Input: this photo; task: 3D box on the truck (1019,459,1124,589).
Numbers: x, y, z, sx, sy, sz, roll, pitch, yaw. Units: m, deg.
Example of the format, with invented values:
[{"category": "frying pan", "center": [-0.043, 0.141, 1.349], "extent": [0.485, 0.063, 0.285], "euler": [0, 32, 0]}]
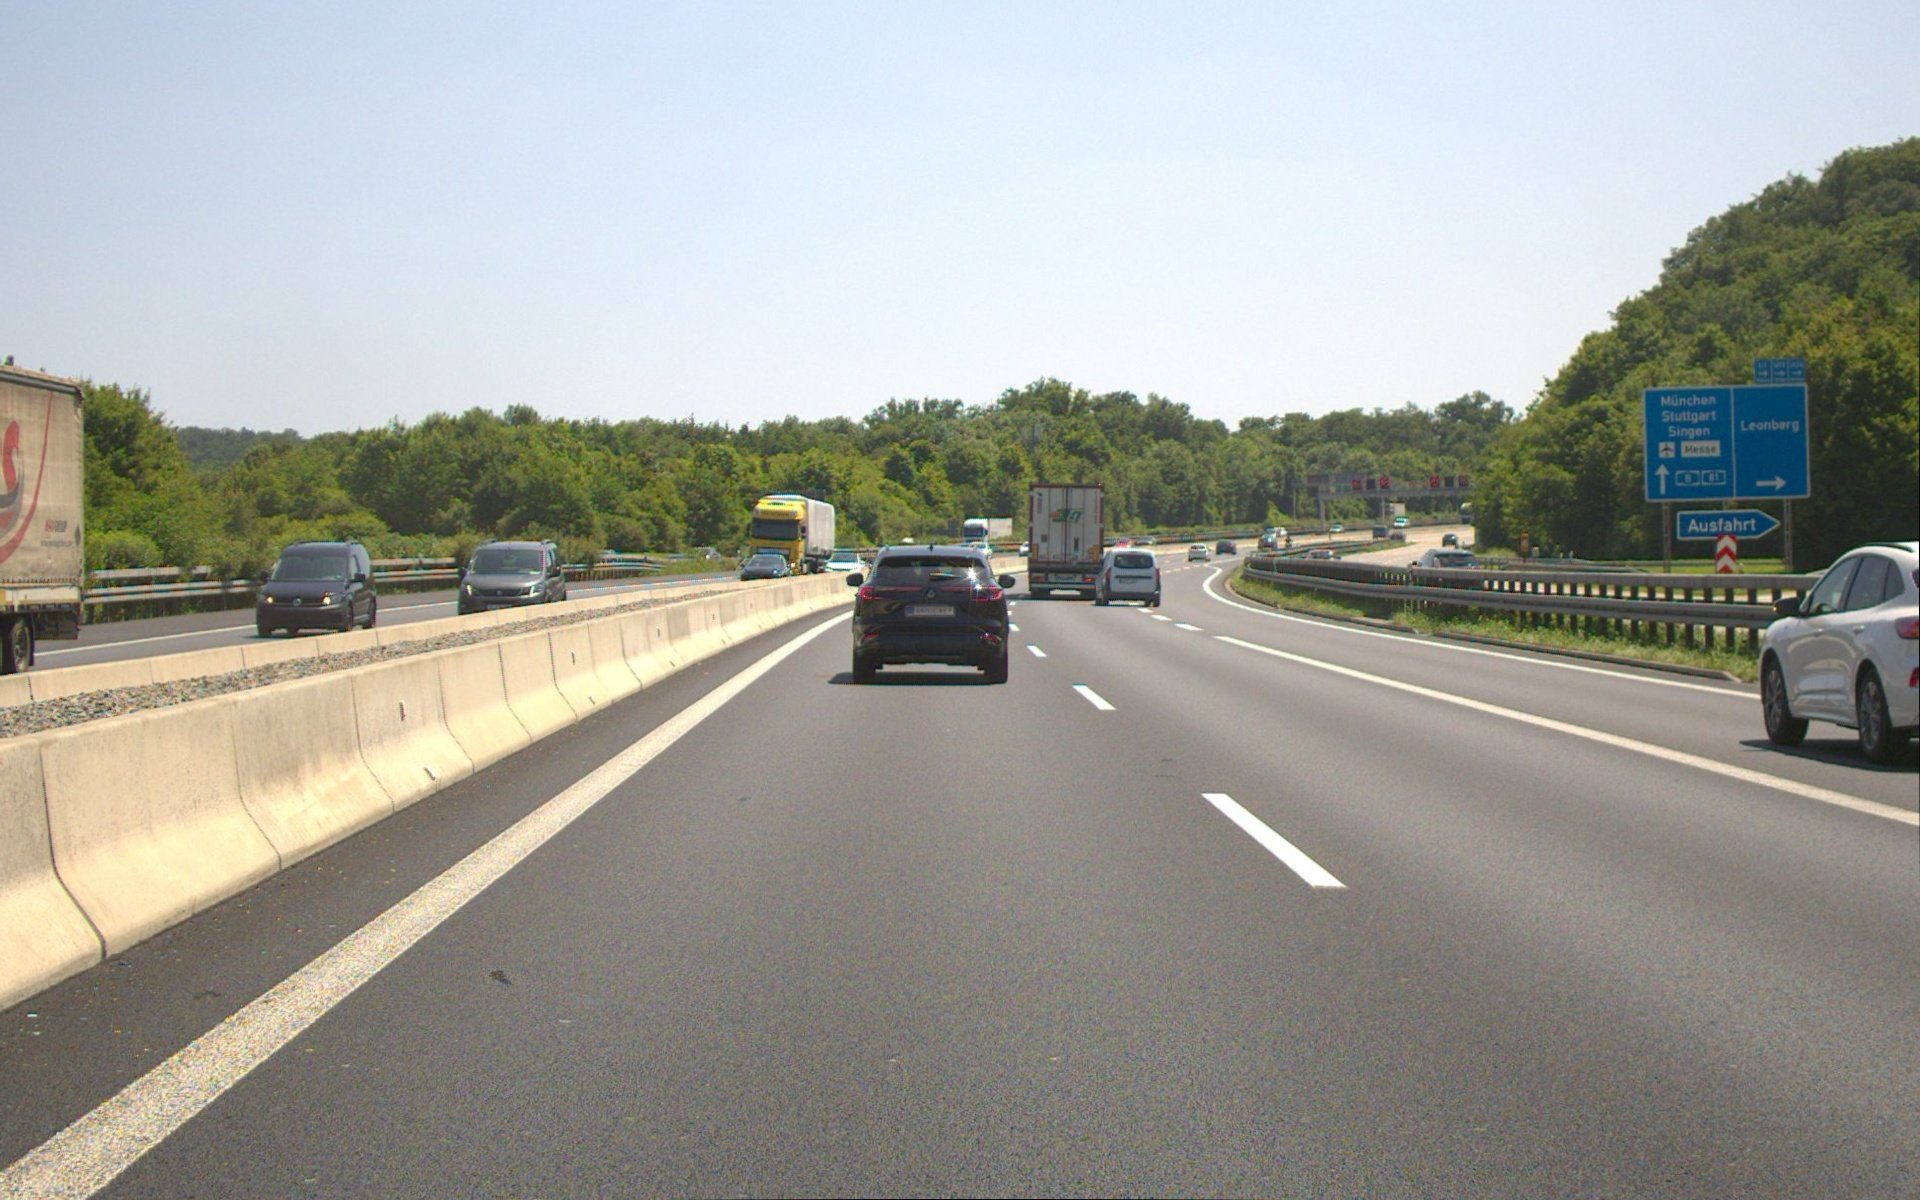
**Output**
[{"category": "truck", "center": [4.088, -2.643, 123.417], "extent": [3.032, 4.403, 12.016], "euler": [1, 1, 5]}]

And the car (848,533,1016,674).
[{"category": "car", "center": [-0.382, 0.020, 40.927], "extent": [1.779, 1.572, 4.001], "euler": [1, 1, -3]}]

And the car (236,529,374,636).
[{"category": "car", "center": [-12.801, -0.352, 67.438], "extent": [1.993, 2.007, 4.485], "euler": [1, 1, -2]}]

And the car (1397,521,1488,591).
[{"category": "car", "center": [14.515, -1.332, 103.646], "extent": [1.993, 2.007, 4.001], "euler": [-1, 1, -3]}]

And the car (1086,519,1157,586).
[{"category": "car", "center": [5.084, -1.514, 108.630], "extent": [1.993, 2.007, 4.000], "euler": [-2, 1, 0]}]

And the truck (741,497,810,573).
[{"category": "truck", "center": [-9.318, -3.273, 174.349], "extent": [2.750, 3.741, 4.865], "euler": [1, 1, 6]}]

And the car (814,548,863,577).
[{"category": "car", "center": [-5.899, -1.841, 167.836], "extent": [1.994, 1.369, 4.662], "euler": [0, 1, 3]}]

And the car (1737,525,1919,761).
[{"category": "car", "center": [7.544, 0.287, 26.458], "extent": [1.993, 1.656, 4.468], "euler": [1, 1, -2]}]

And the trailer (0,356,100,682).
[{"category": "trailer", "center": [-13.315, -1.004, 41.461], "extent": [2.910, 4.031, 12.064], "euler": [1, 1, 0]}]

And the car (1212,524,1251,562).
[{"category": "car", "center": [14.492, -3.043, 183.650], "extent": [1.994, 2.007, 4.000], "euler": [1, 1, 4]}]

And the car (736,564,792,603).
[{"category": "car", "center": [-7.864, -0.684, 138.411], "extent": [1.729, 1.531, 4.613], "euler": [1, 1, 3]}]

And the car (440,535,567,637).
[{"category": "car", "center": [-9.382, -0.309, 70.991], "extent": [2.051, 2.007, 4.955], "euler": [1, 1, -1]}]
